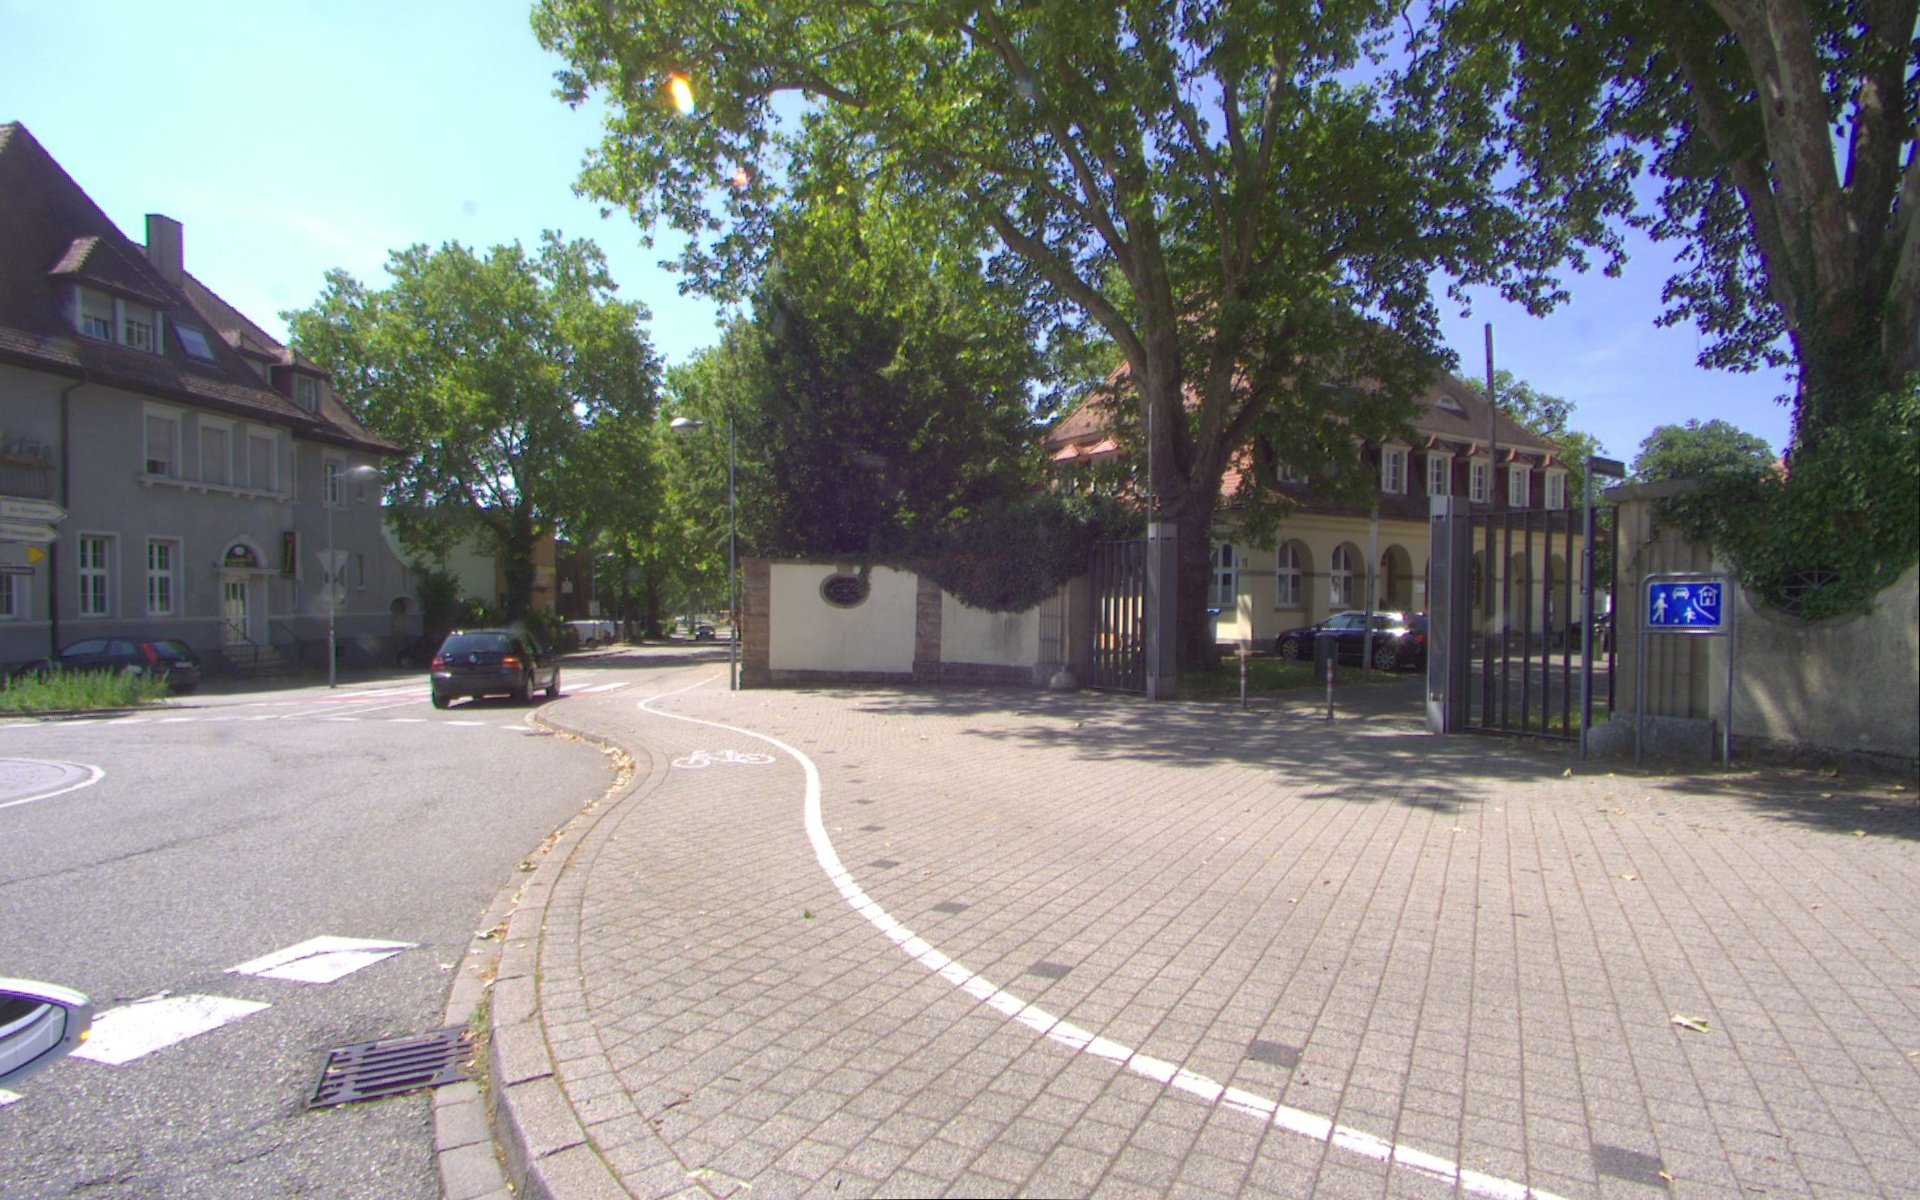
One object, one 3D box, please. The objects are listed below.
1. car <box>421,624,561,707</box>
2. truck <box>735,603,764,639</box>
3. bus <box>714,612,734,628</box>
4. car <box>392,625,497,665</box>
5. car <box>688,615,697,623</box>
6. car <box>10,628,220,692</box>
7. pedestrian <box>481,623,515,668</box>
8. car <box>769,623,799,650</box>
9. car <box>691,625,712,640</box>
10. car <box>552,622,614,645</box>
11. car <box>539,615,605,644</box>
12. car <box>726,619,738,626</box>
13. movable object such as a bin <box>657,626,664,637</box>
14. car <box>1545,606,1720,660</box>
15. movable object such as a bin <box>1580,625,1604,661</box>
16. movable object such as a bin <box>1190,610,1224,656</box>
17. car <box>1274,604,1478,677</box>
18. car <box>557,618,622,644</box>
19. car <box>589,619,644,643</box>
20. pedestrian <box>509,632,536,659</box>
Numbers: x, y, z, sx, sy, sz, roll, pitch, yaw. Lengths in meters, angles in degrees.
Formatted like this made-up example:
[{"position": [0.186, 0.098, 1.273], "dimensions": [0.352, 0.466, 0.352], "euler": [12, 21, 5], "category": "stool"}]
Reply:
[{"position": [-9.258, 1.225, 20.085], "dimensions": [1.685, 1.466, 4.054], "euler": [-1, -1, -13], "category": "car"}, {"position": [-19.559, 1.992, 93.121], "dimensions": [2.333, 3.173, 5.769], "euler": [0, -2, -9], "category": "truck"}, {"position": [-49.995, 4.326, 212.128], "dimensions": [2.627, 3.191, 11.170], "euler": [0, -1, -21], "category": "bus"}, {"position": [-20.724, 1.785, 40.331], "dimensions": [3.326, 1.566, 1.724], "euler": [0, -1, 2], "category": "car"}, {"position": [-57.205, 4.046, 214.166], "dimensions": [1.964, 1.687, 3.996], "euler": [0, -2, -15], "category": "car"}, {"position": [-20.619, 1.447, 24.521], "dimensions": [3.719, 1.479, 1.724], "euler": [-1, -1, 2], "category": "car"}, {"position": [-18.508, 1.823, 40.102], "dimensions": [0.857, 1.765, 1.112], "euler": [0, -1, -2], "category": "pedestrian"}, {"position": [-11.724, 2.410, 66.777], "dimensions": [1.713, 1.578, 4.778], "euler": [-2, 0, -7], "category": "car"}, {"position": [-24.980, 3.144, 96.939], "dimensions": [1.741, 1.444, 4.390], "euler": [0, -1, -12], "category": "car"}, {"position": [-27.539, 2.453, 73.180], "dimensions": [3.926, 1.535, 1.867], "euler": [2, -1, -12], "category": "car"}, {"position": [-26.602, 2.029, 68.753], "dimensions": [3.926, 1.815, 1.867], "euler": [2, -1, -12], "category": "car"}, {"position": [-44.978, 4.482, 197.231], "dimensions": [1.742, 1.392, 3.720], "euler": [-1, -1, -21], "category": "car"}, {"position": [-30.478, 3.179, 101.868], "dimensions": [0.613, 1.062, 0.620], "euler": [0, 0, -3], "category": "movable object such as a bin"}, {"position": [22.717, 1.067, 34.029], "dimensions": [1.973, 1.422, 4.471], "euler": [0, 3, -32], "category": "car"}, {"position": [18.411, 1.255, 29.163], "dimensions": [0.530, 1.021, 0.525], "euler": [-1, -1, 26], "category": "movable object such as a bin"}, {"position": [7.073, 0.941, 28.643], "dimensions": [0.661, 1.313, 0.672], "euler": [0, -1, -42], "category": "movable object such as a bin"}, {"position": [10.526, 0.955, 25.667], "dimensions": [1.973, 1.422, 4.471], "euler": [0, 3, -32], "category": "car"}, {"position": [-27.983, 2.350, 75.742], "dimensions": [4.356, 1.827, 1.902], "euler": [2, -1, -12], "category": "car"}, {"position": [-28.739, 2.606, 83.866], "dimensions": [4.065, 1.827, 1.902], "euler": [2, -1, -12], "category": "car"}, {"position": [-18.768, 1.961, 42.989], "dimensions": [0.741, 1.136, 0.897], "euler": [-1, -1, 1], "category": "pedestrian"}]
